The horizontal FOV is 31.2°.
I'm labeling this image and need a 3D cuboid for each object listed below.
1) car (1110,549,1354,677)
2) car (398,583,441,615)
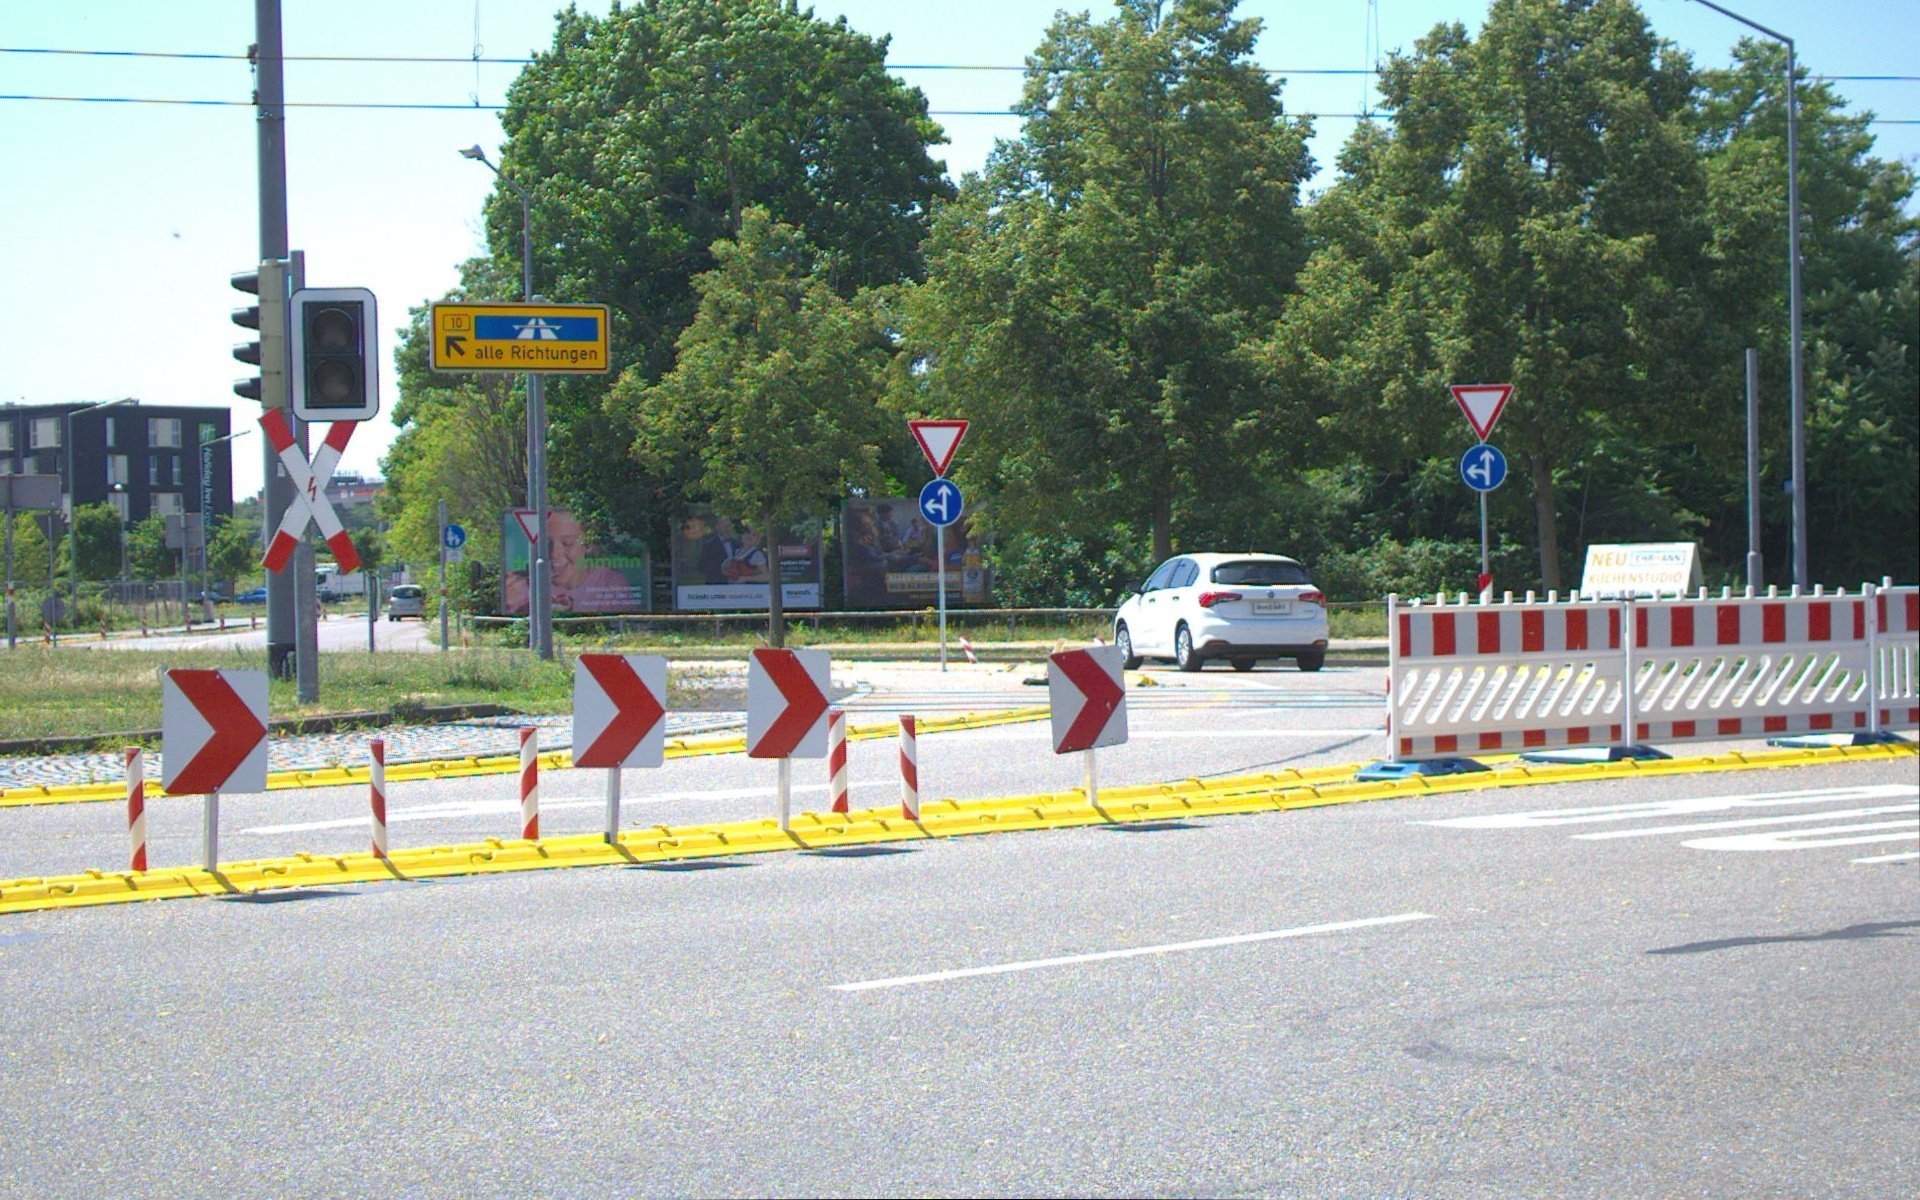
[{"bbox_3d":[3.341,0.138,43.091,1.993,1.481,4.368,-1,1,-10],"label":"car"},{"bbox_3d":[-24.064,-0.033,153.019,1.658,1.368,3.032,-1,1,-5],"label":"car"}]
